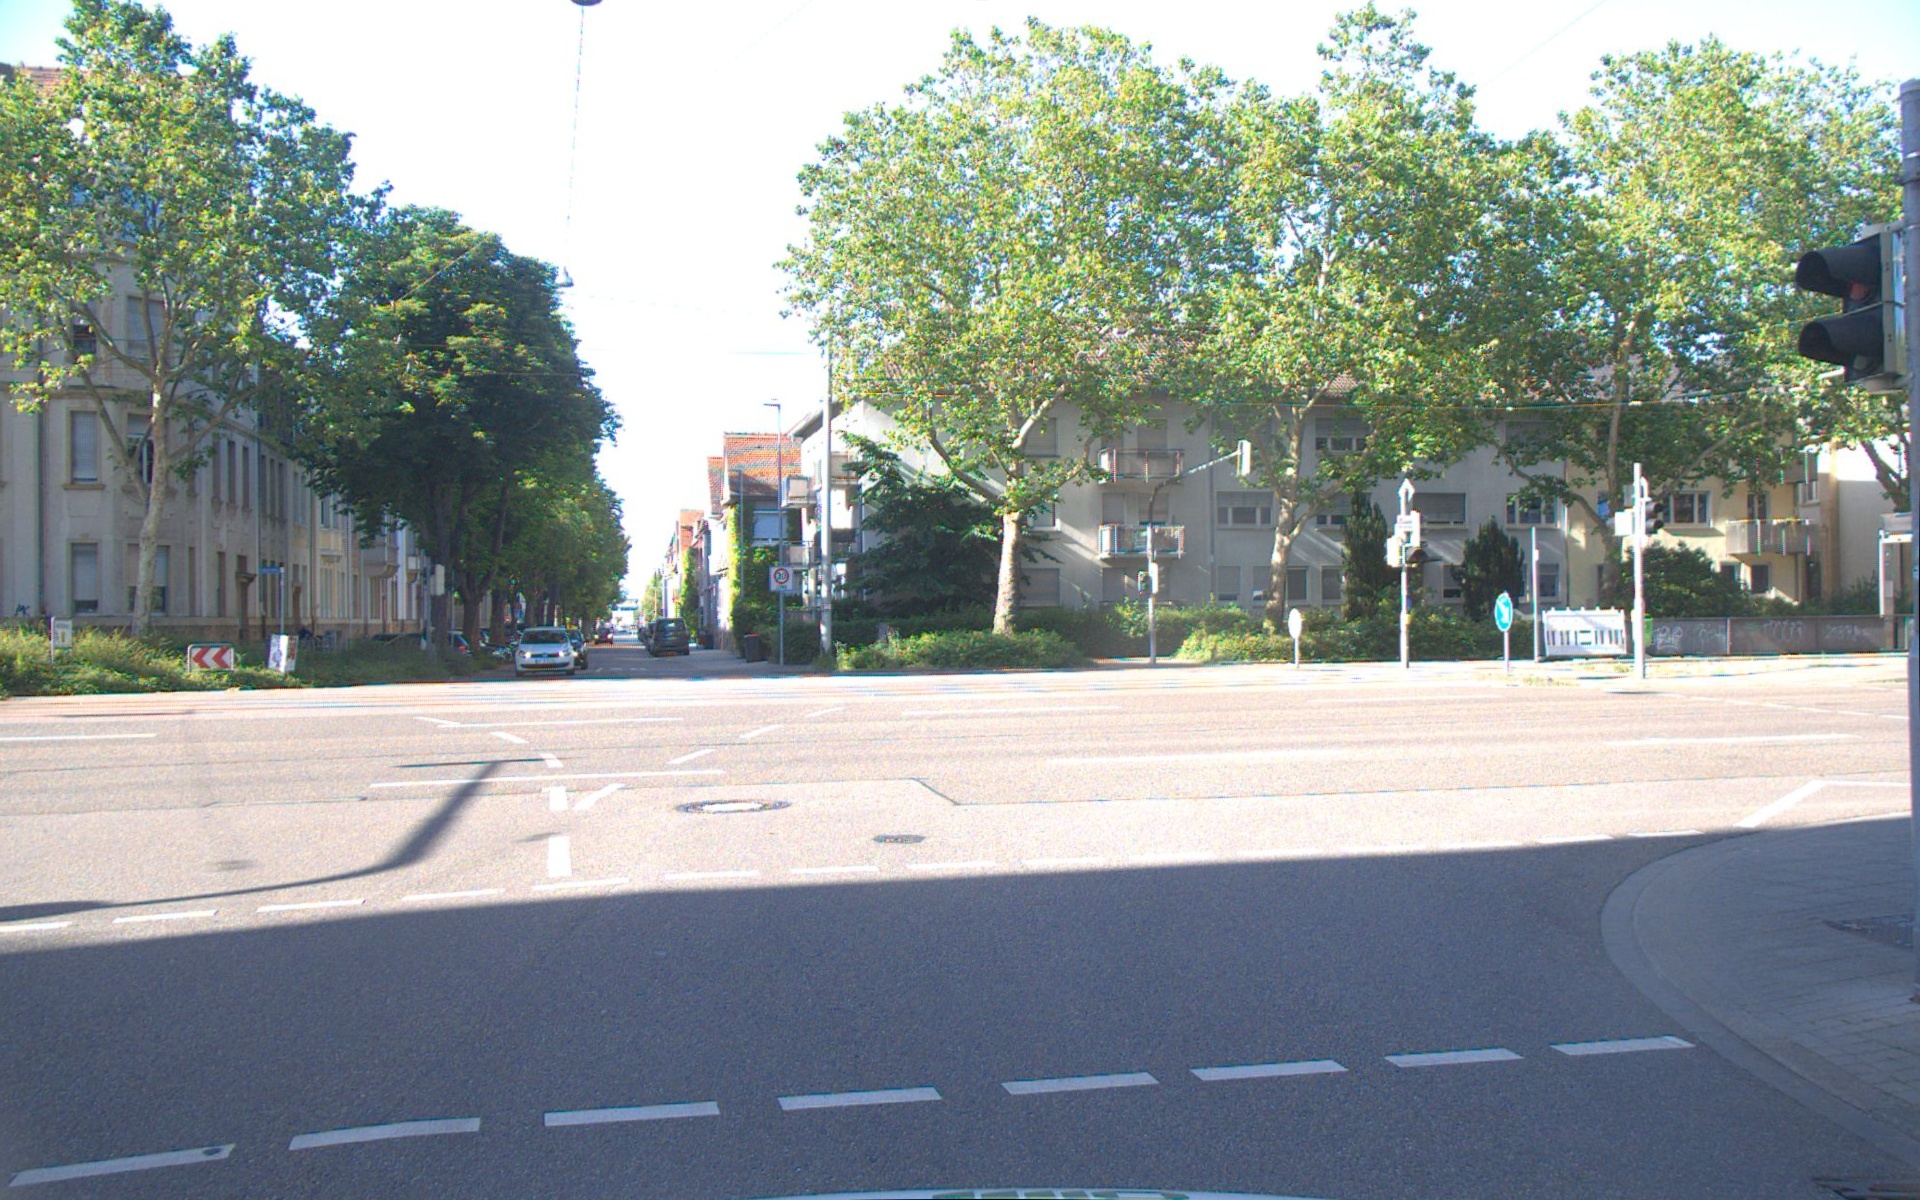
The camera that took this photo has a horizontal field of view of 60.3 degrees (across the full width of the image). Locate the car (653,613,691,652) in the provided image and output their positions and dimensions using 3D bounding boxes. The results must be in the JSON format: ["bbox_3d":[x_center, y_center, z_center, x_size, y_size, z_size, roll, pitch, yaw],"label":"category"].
[{"bbox_3d":[-15.453,1.732,88.595,1.832,1.950,4.768,2,-1,-11],"label":"car"}]

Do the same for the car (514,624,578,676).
[{"bbox_3d":[-12.684,1.539,50.841,1.775,1.484,3.987,-1,-2,-12],"label":"car"}]

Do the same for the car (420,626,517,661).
[{"bbox_3d":[-21.573,1.894,72.756,3.915,1.508,1.780,0,-1,-11],"label":"car"}]

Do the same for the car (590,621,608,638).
[{"bbox_3d":[-33.960,2.797,155.619,1.612,1.535,3.691,-2,0,-12],"label":"car"}]

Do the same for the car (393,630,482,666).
[{"bbox_3d":[-22.104,2.017,70.100,3.371,1.477,1.699,0,-2,-10],"label":"car"}]

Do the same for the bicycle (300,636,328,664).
[{"bbox_3d":[-22.036,1.693,56.427,0.462,0.928,1.595,-1,-1,-5],"label":"bicycle"}]

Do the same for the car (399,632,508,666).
[{"bbox_3d":[-20.770,2.005,68.014,4.138,1.372,1.698,0,-2,-12],"label":"car"}]

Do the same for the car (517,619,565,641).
[{"bbox_3d":[-35.707,2.557,140.953,3.921,1.792,1.790,2,-2,-16],"label":"car"}]

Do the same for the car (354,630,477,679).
[{"bbox_3d":[-18.748,1.864,57.070,3.814,1.501,1.610,-2,-1,-12],"label":"car"}]

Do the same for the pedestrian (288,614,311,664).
[{"bbox_3d":[-22.490,1.321,56.317,0.451,1.687,0.894,-1,-1,-4],"label":"pedestrian"}]

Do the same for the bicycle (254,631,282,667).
[{"bbox_3d":[-23.882,1.685,57.097,0.504,1.174,1.977,2,0,-11],"label":"bicycle"}]

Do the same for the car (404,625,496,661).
[{"bbox_3d":[-23.846,1.991,77.454,3.915,1.534,1.718,-2,-1,-11],"label":"car"}]

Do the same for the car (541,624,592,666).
[{"bbox_3d":[-14.596,1.638,61.434,1.631,1.490,3.798,-1,-1,-11],"label":"car"}]

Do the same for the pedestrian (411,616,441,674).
[{"bbox_3d":[-16.097,1.351,49.894,0.679,1.711,0.680,-1,-1,-1],"label":"pedestrian"}]

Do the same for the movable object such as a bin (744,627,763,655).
[{"bbox_3d":[-8.248,1.647,66.099,0.587,1.062,0.704,-4,0,-14],"label":"movable object such as a bin"}]
